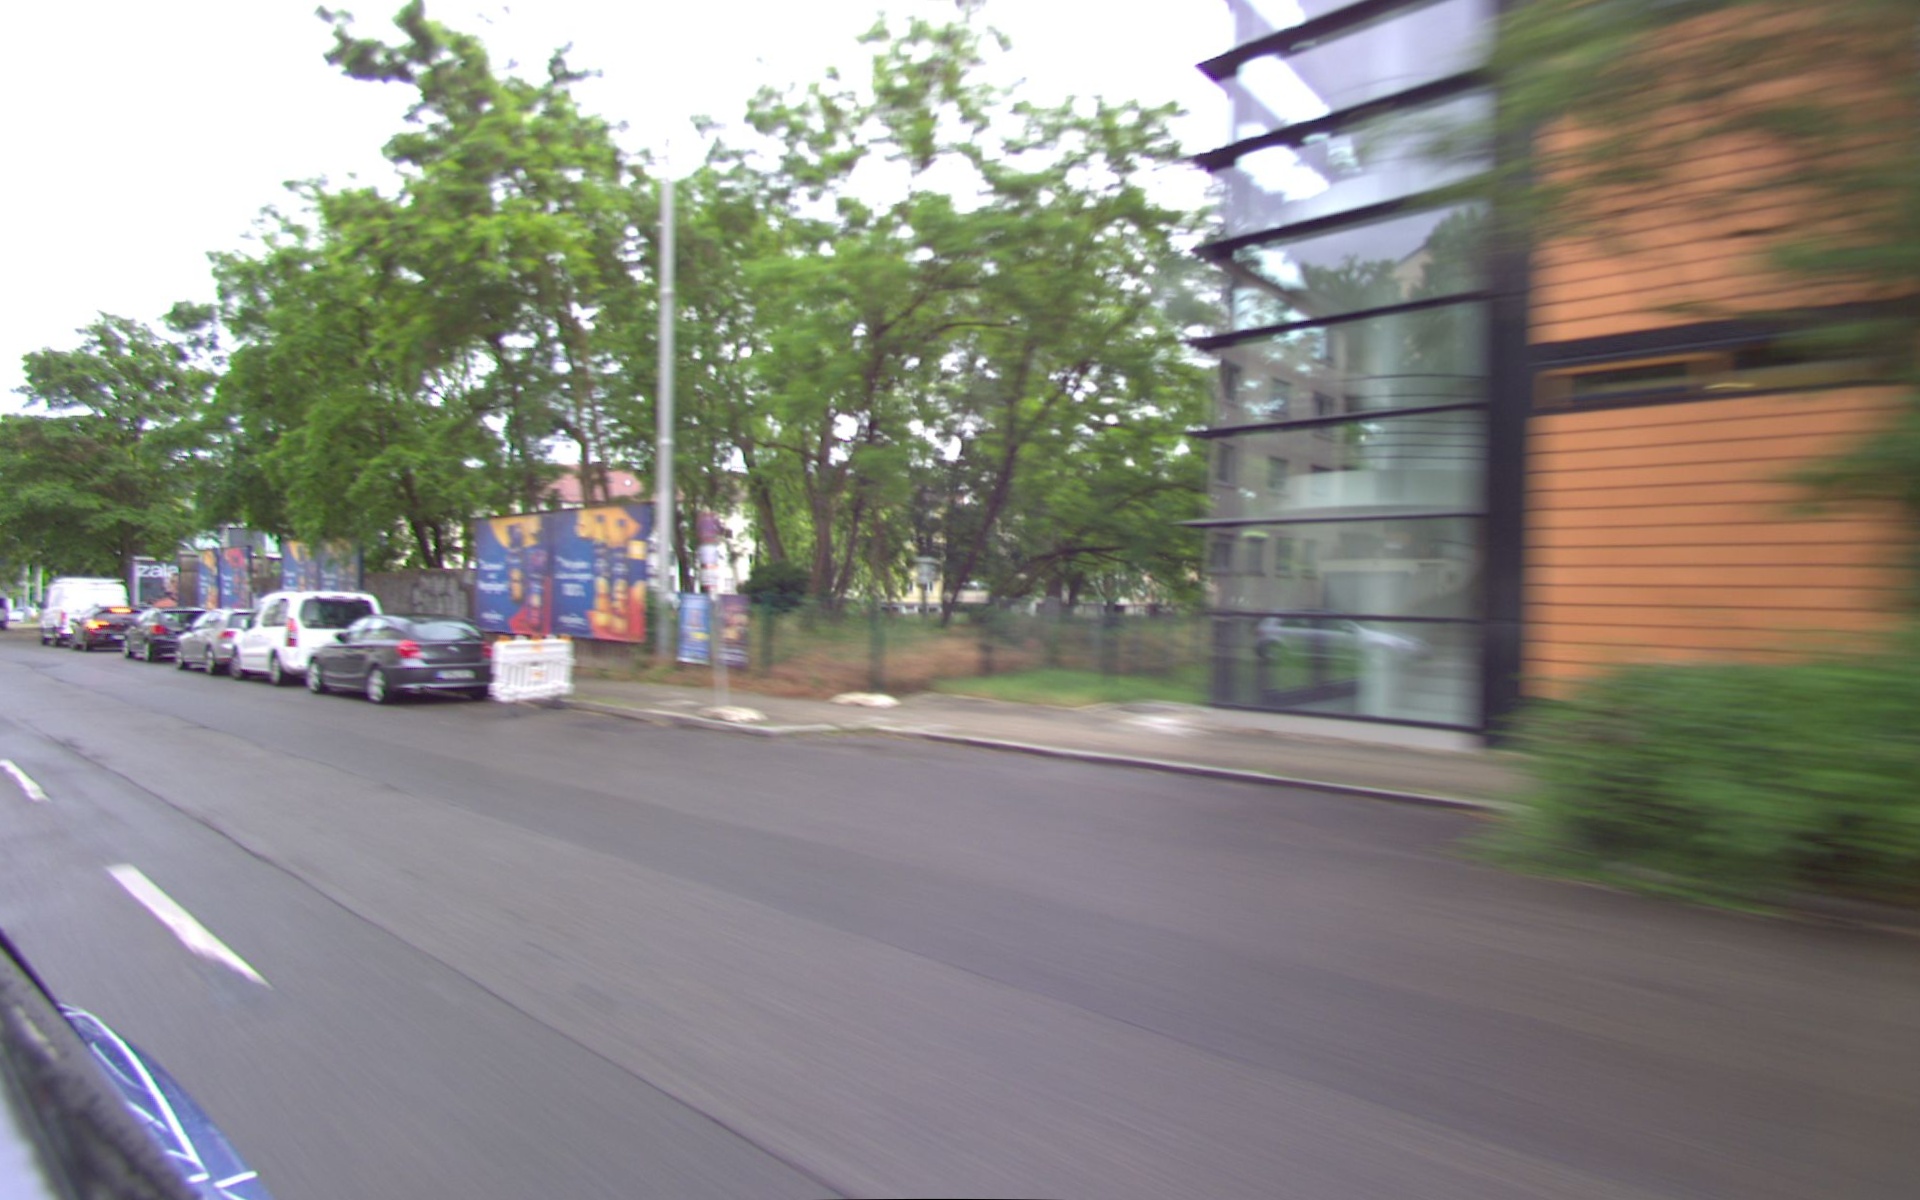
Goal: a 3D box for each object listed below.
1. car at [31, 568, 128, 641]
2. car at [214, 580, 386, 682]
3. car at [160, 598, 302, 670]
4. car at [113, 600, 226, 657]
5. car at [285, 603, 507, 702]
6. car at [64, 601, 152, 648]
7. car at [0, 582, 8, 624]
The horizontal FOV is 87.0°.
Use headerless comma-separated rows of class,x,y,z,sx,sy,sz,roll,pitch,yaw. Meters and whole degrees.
car,-32.902,0.211,37.766,5.982,2.506,1.990,-1,-2,42
car,-13.246,0.564,20.206,4.342,1.814,1.705,1,-1,41
car,-16.848,0.741,23.325,4.274,1.473,1.665,1,-1,41
car,-21.656,0.759,27.676,3.908,1.409,1.665,1,-1,41
car,-9.394,0.787,16.719,4.340,1.386,1.706,1,-1,39
car,-28.209,0.769,33.447,4.385,1.426,1.785,0,-1,44
car,-62.012,0.149,63.742,6.533,2.598,2.207,0,-3,41
